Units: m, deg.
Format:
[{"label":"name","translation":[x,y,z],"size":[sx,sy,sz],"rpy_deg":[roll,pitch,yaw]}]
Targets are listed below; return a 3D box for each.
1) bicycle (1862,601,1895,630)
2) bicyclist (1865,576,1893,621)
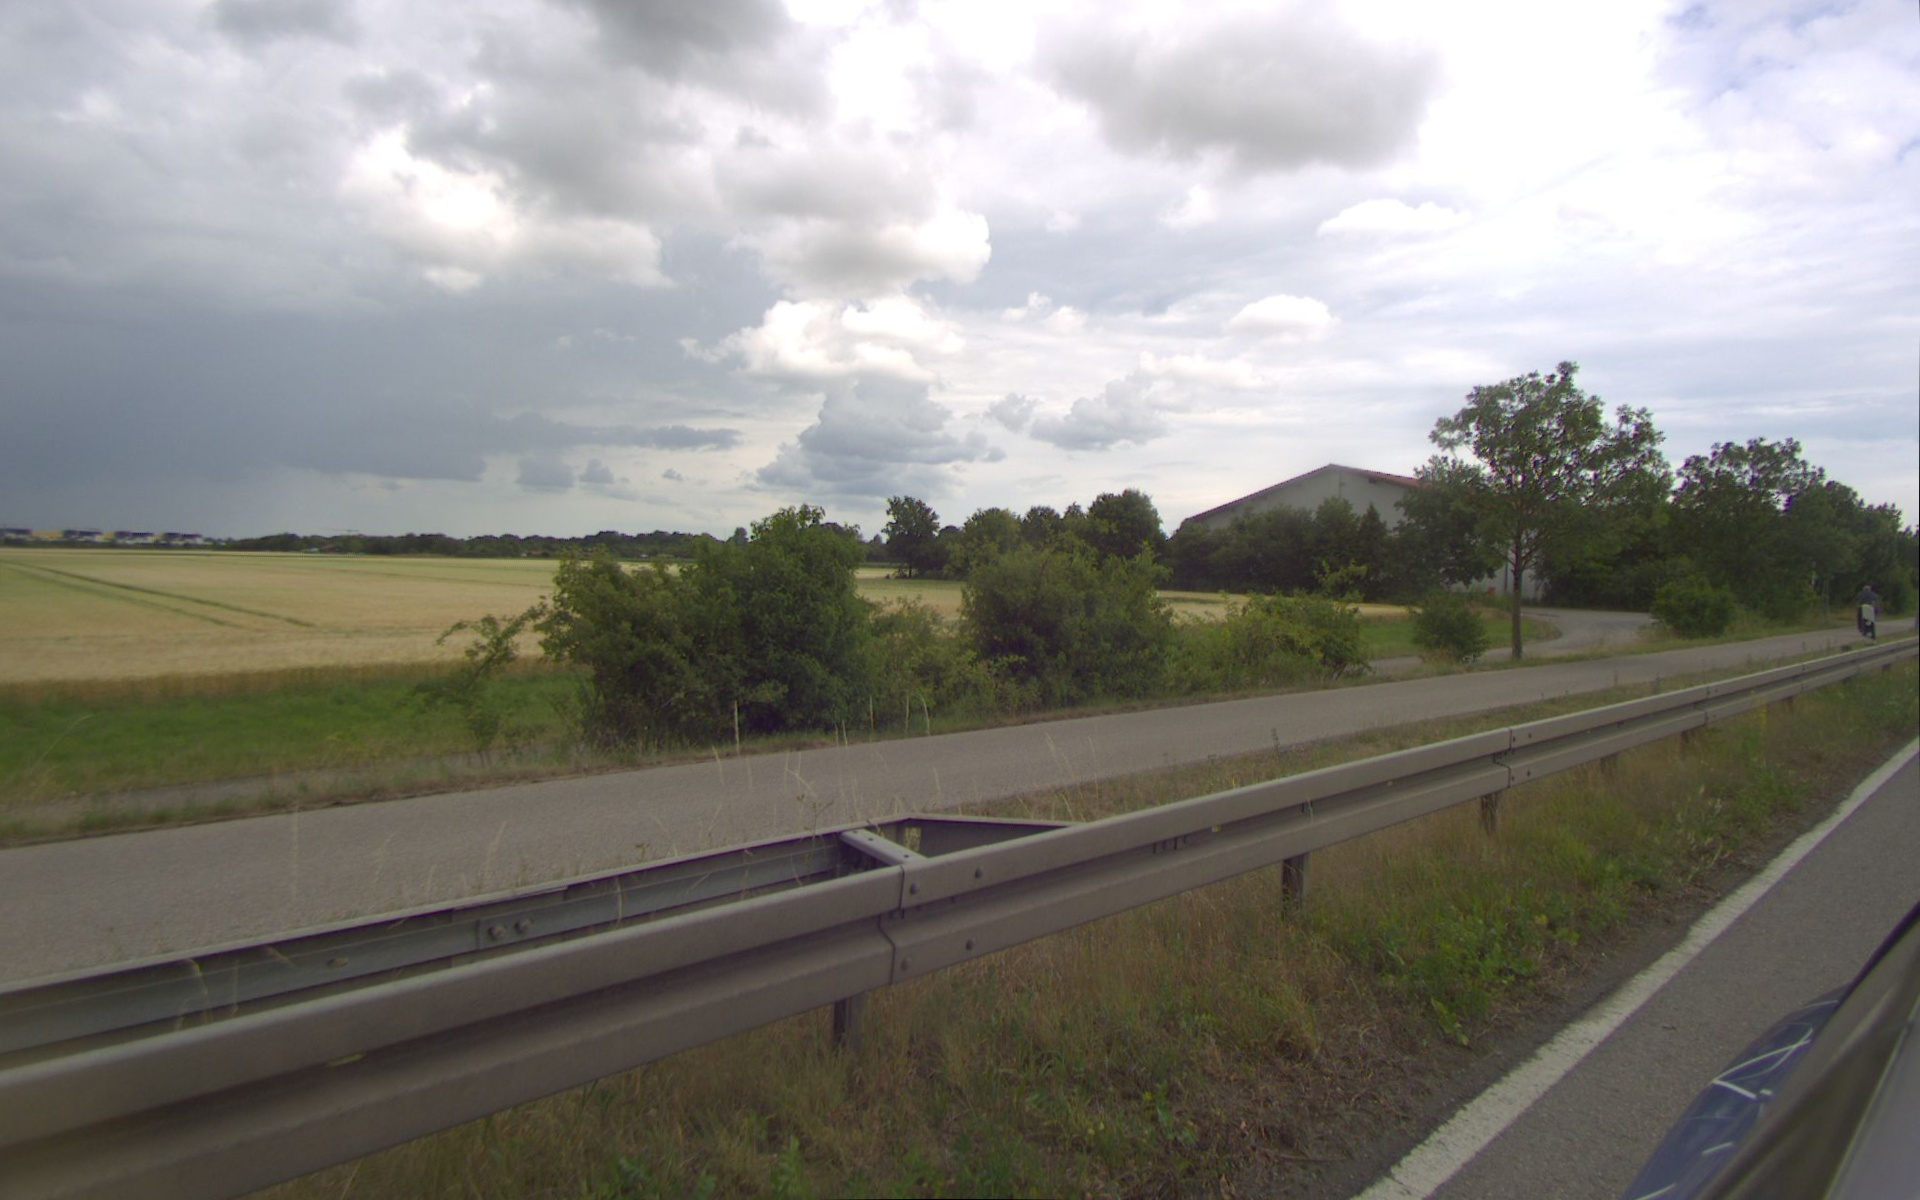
[{"label":"bicycle","translation":[33.809,0.552,37.241],"size":[2.037,0.990,0.640],"rpy_deg":[-1,2,-41]},{"label":"bicyclist","translation":[33.805,-0.067,37.215],"size":[0.952,1.602,0.640],"rpy_deg":[0,1,-41]}]
